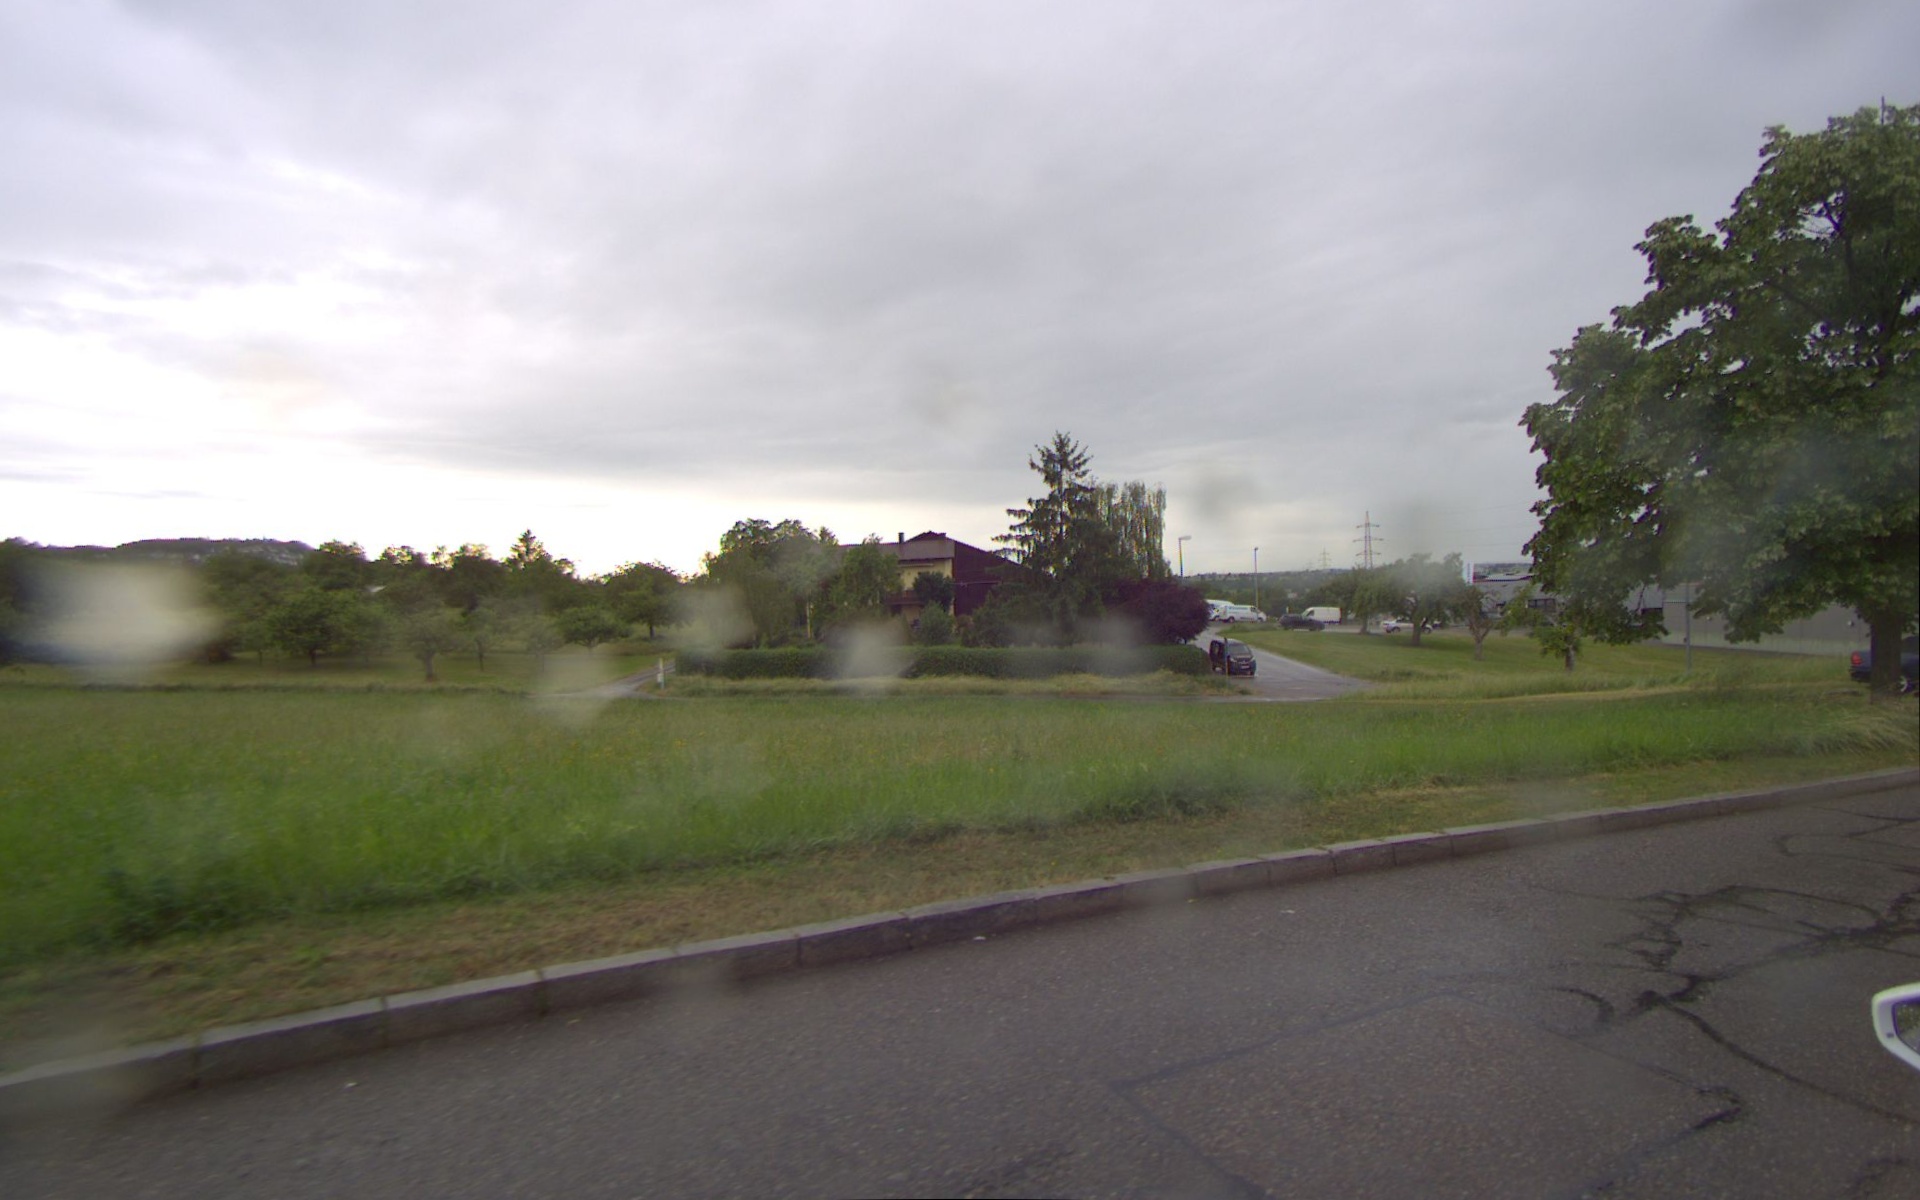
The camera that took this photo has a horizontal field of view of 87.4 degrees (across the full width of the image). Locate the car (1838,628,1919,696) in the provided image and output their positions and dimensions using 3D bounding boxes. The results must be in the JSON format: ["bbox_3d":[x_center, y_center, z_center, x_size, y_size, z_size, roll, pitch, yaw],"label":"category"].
[{"bbox_3d":[22.067,1.394,21.841,1.756,1.450,4.186,2,-1,-34],"label":"car"}]

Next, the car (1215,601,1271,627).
[{"bbox_3d":[31.534,1.559,112.065,5.702,2.738,1.998,1,0,-6],"label":"car"}]

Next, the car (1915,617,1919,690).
[{"bbox_3d":[24.704,1.258,22.567,2.021,1.744,4.347,2,-2,-30],"label":"car"}]

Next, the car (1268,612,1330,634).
[{"bbox_3d":[32.942,2.241,97.663,5.314,2.000,2.292,1,-3,1],"label":"car"}]

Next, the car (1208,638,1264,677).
[{"bbox_3d":[16.712,3.466,61.052,1.893,2.249,4.502,0,-3,-4],"label":"car"}]

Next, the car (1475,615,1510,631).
[{"bbox_3d":[56.609,2.402,106.871,1.775,1.639,4.001,1,-1,2],"label":"car"}]

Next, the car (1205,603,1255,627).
[{"bbox_3d":[31.693,1.755,117.910,5.327,2.603,1.999,1,-2,-4],"label":"car"}]

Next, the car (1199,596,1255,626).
[{"bbox_3d":[32.055,1.318,120.582,6.175,3.474,2.001,1,-2,1],"label":"car"}]

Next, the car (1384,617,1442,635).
[{"bbox_3d":[43.557,2.550,96.727,4.527,1.670,2.292,0,-3,1],"label":"car"}]

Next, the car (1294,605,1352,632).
[{"bbox_3d":[47.841,2.448,132.546,6.596,3.469,2.546,0,-3,1],"label":"car"}]
